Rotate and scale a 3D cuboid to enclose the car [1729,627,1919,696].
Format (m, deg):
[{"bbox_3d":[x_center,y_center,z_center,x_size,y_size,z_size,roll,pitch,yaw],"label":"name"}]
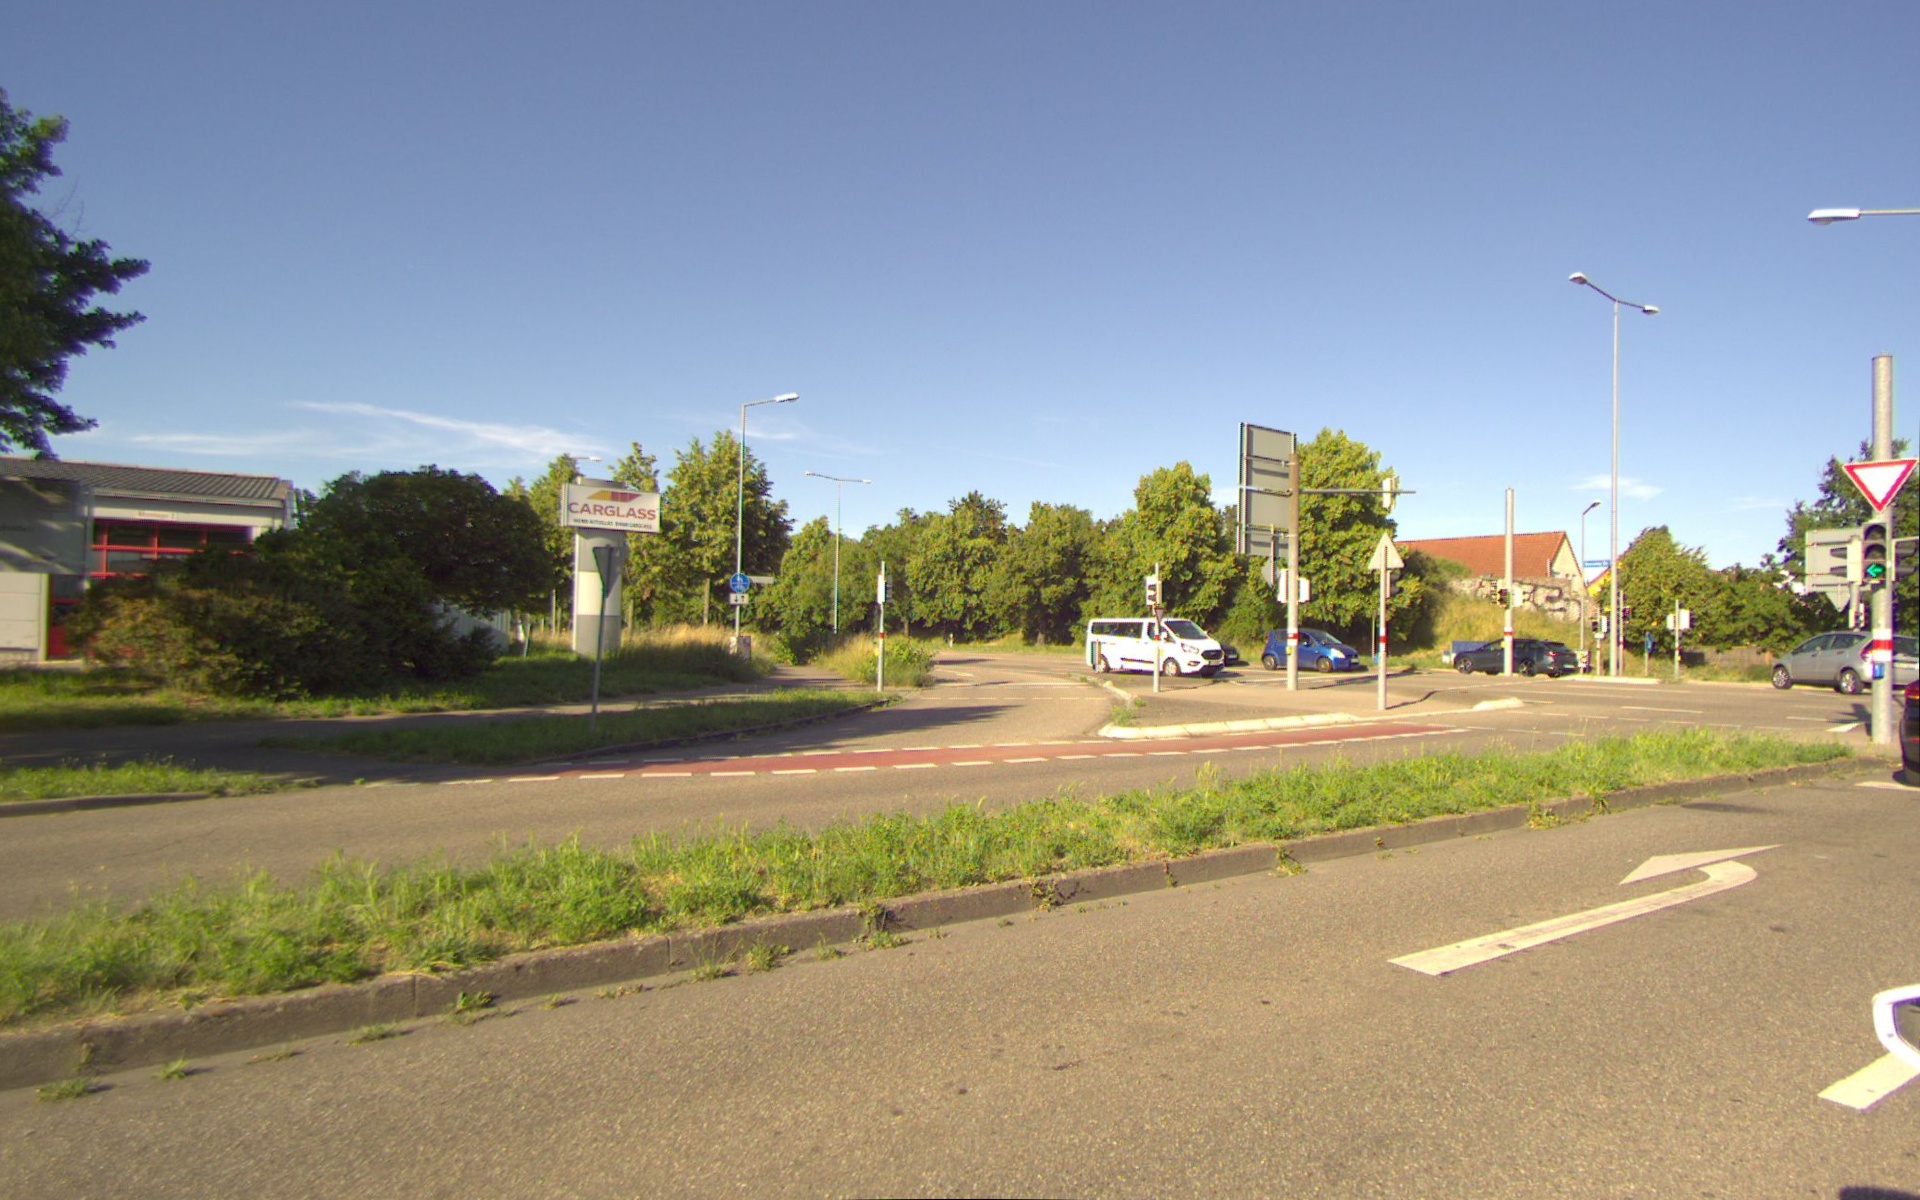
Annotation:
[{"bbox_3d":[23.277,1.570,26.902,2.007,1.637,4.418,0,-1,1],"label":"car"}]

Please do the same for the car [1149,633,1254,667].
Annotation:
[{"bbox_3d":[9.981,2.025,41.700,1.875,1.291,3.999,0,-1,-36],"label":"car"}]

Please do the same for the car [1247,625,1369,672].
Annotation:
[{"bbox_3d":[12.969,1.765,37.600,1.875,1.666,3.999,0,-1,-36],"label":"car"}]

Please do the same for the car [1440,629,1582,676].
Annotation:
[{"bbox_3d":[20.942,1.948,38.342,2.026,1.637,4.378,2,-2,-33],"label":"car"}]

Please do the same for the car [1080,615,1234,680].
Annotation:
[{"bbox_3d":[6.631,1.561,34.377,2.028,2.040,5.222,0,-1,-36],"label":"car"}]

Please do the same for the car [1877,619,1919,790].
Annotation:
[{"bbox_3d":[11.294,1.065,10.236,3.954,1.649,1.818,2,-2,-31],"label":"car"}]
